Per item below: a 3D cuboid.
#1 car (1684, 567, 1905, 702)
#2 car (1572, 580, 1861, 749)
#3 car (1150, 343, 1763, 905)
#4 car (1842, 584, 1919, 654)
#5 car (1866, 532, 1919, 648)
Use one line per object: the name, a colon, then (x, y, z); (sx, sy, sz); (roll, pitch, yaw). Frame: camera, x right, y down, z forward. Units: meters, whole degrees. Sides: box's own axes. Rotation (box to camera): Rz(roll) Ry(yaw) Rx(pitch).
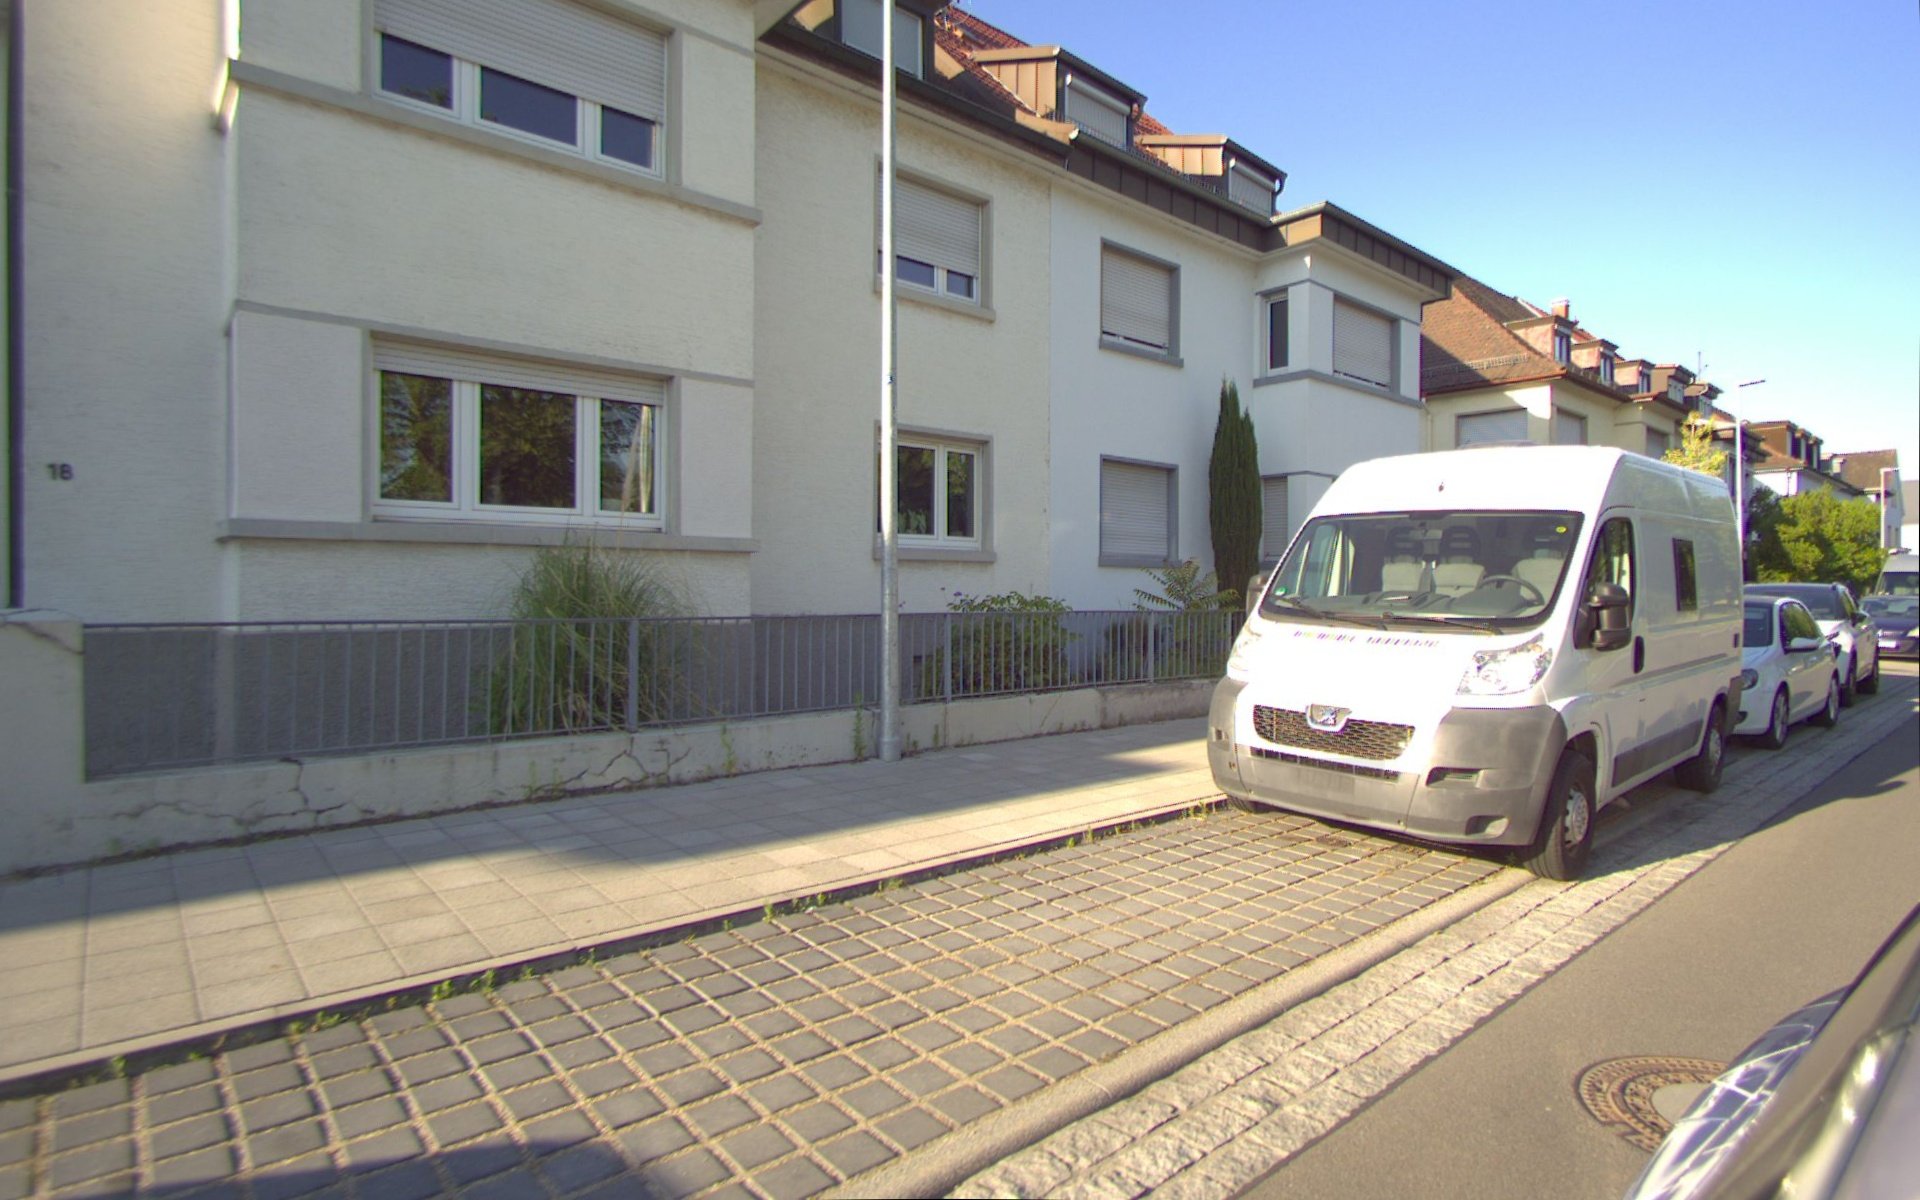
car: (12.134, 0.394, 14.610); (4.403, 1.665, 1.780); (0, 1, -42)
car: (8.259, 0.550, 10.924); (4.035, 1.501, 1.625); (0, 1, -40)
car: (3.863, 0.058, 7.227); (5.416, 2.549, 2.132); (-1, 2, -43)
car: (21.639, 0.390, 23.108); (3.933, 1.457, 1.629); (0, 3, -40)
car: (26.202, -0.268, 27.107); (5.882, 2.890, 2.132); (0, 0, -41)
